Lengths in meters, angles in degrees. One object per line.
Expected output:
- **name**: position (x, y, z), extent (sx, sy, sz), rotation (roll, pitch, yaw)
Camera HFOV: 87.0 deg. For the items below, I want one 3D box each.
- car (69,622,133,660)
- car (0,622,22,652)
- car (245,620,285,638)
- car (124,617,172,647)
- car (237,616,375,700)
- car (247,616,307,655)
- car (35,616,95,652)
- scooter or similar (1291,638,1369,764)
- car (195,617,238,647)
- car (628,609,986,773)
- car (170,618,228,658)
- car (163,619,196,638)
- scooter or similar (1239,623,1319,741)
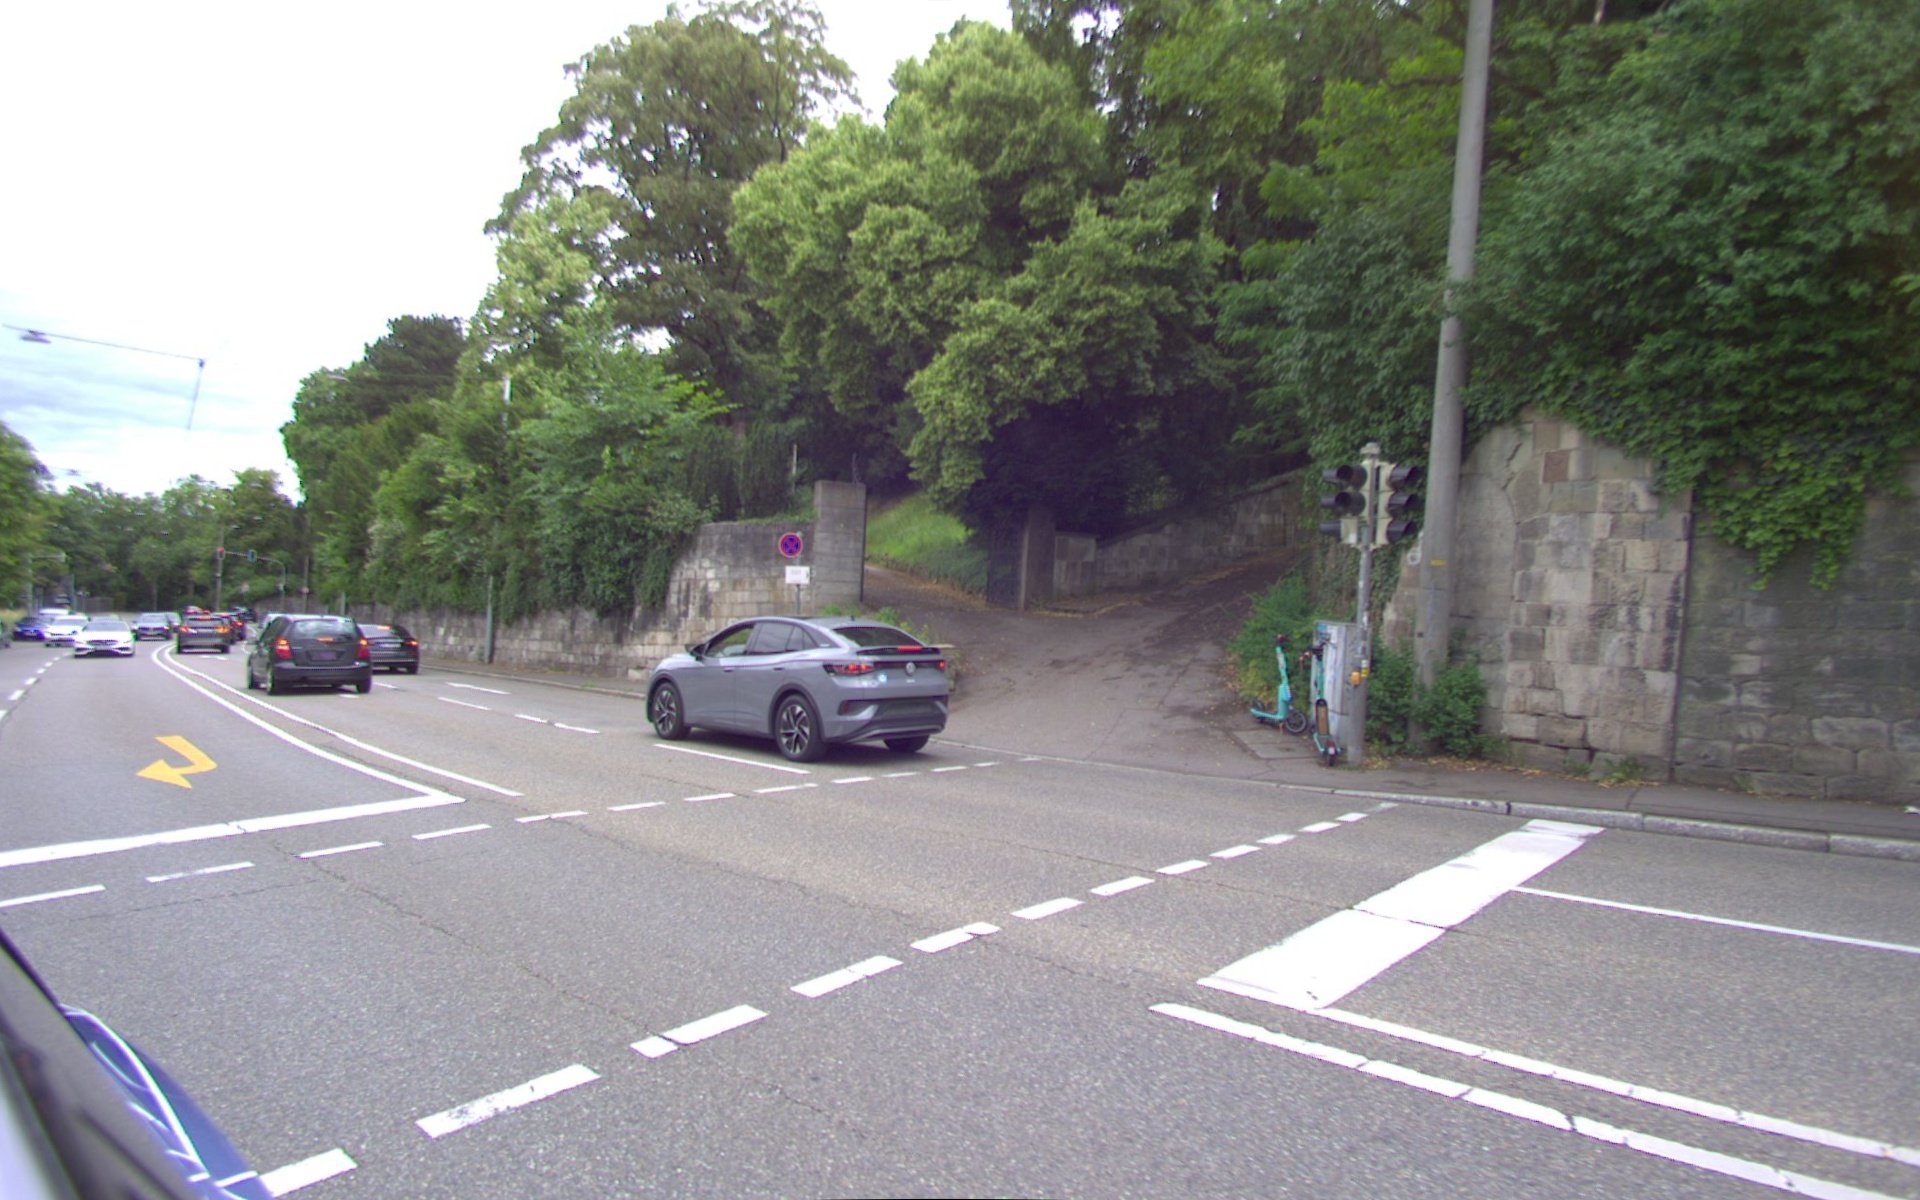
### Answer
- **car**: position (-33.426, 1.608, 39.384), extent (1.776, 1.401, 3.532), rotation (3, -4, -41)
- **car**: position (-46.245, 1.736, 48.157), extent (1.746, 1.409, 4.562), rotation (2, -2, -36)
- **car**: position (-57.400, 2.398, 83.534), extent (4.457, 1.420, 1.822), rotation (-1, -3, 44)
- **car**: position (-49.920, 1.970, 62.223), extent (1.930, 1.753, 4.003), rotation (2, -2, -44)
- **car**: position (-13.537, 1.152, 20.879), extent (1.733, 1.578, 3.683), rotation (3, -3, -43)
- **car**: position (-33.667, 1.732, 49.859), extent (1.869, 1.862, 4.403), rotation (3, -3, -41)
- **car**: position (-46.374, 1.732, 52.420), extent (4.000, 1.785, 1.932), rotation (-1, -2, 43)
- **scooter or similar**: position (4.133, 1.103, 11.374), extent (0.428, 1.246, 1.098), rotation (-2, 2, 0)
- **car**: position (-46.612, 1.999, 63.530), extent (1.933, 1.763, 4.890), rotation (3, -2, -35)
- **car**: position (-2.011, 0.993, 12.346), extent (4.478, 1.620, 1.971), rotation (-1, -4, 44)
- **car**: position (-33.505, 1.652, 44.535), extent (1.825, 1.645, 4.368), rotation (1, -2, -40)
- **car**: position (-58.770, 2.162, 76.137), extent (1.807, 1.387, 4.007), rotation (2, -2, -39)
- **scooter or similar**: position (4.025, 1.002, 12.853), extent (0.427, 1.246, 1.353), rotation (-3, 6, -7)
